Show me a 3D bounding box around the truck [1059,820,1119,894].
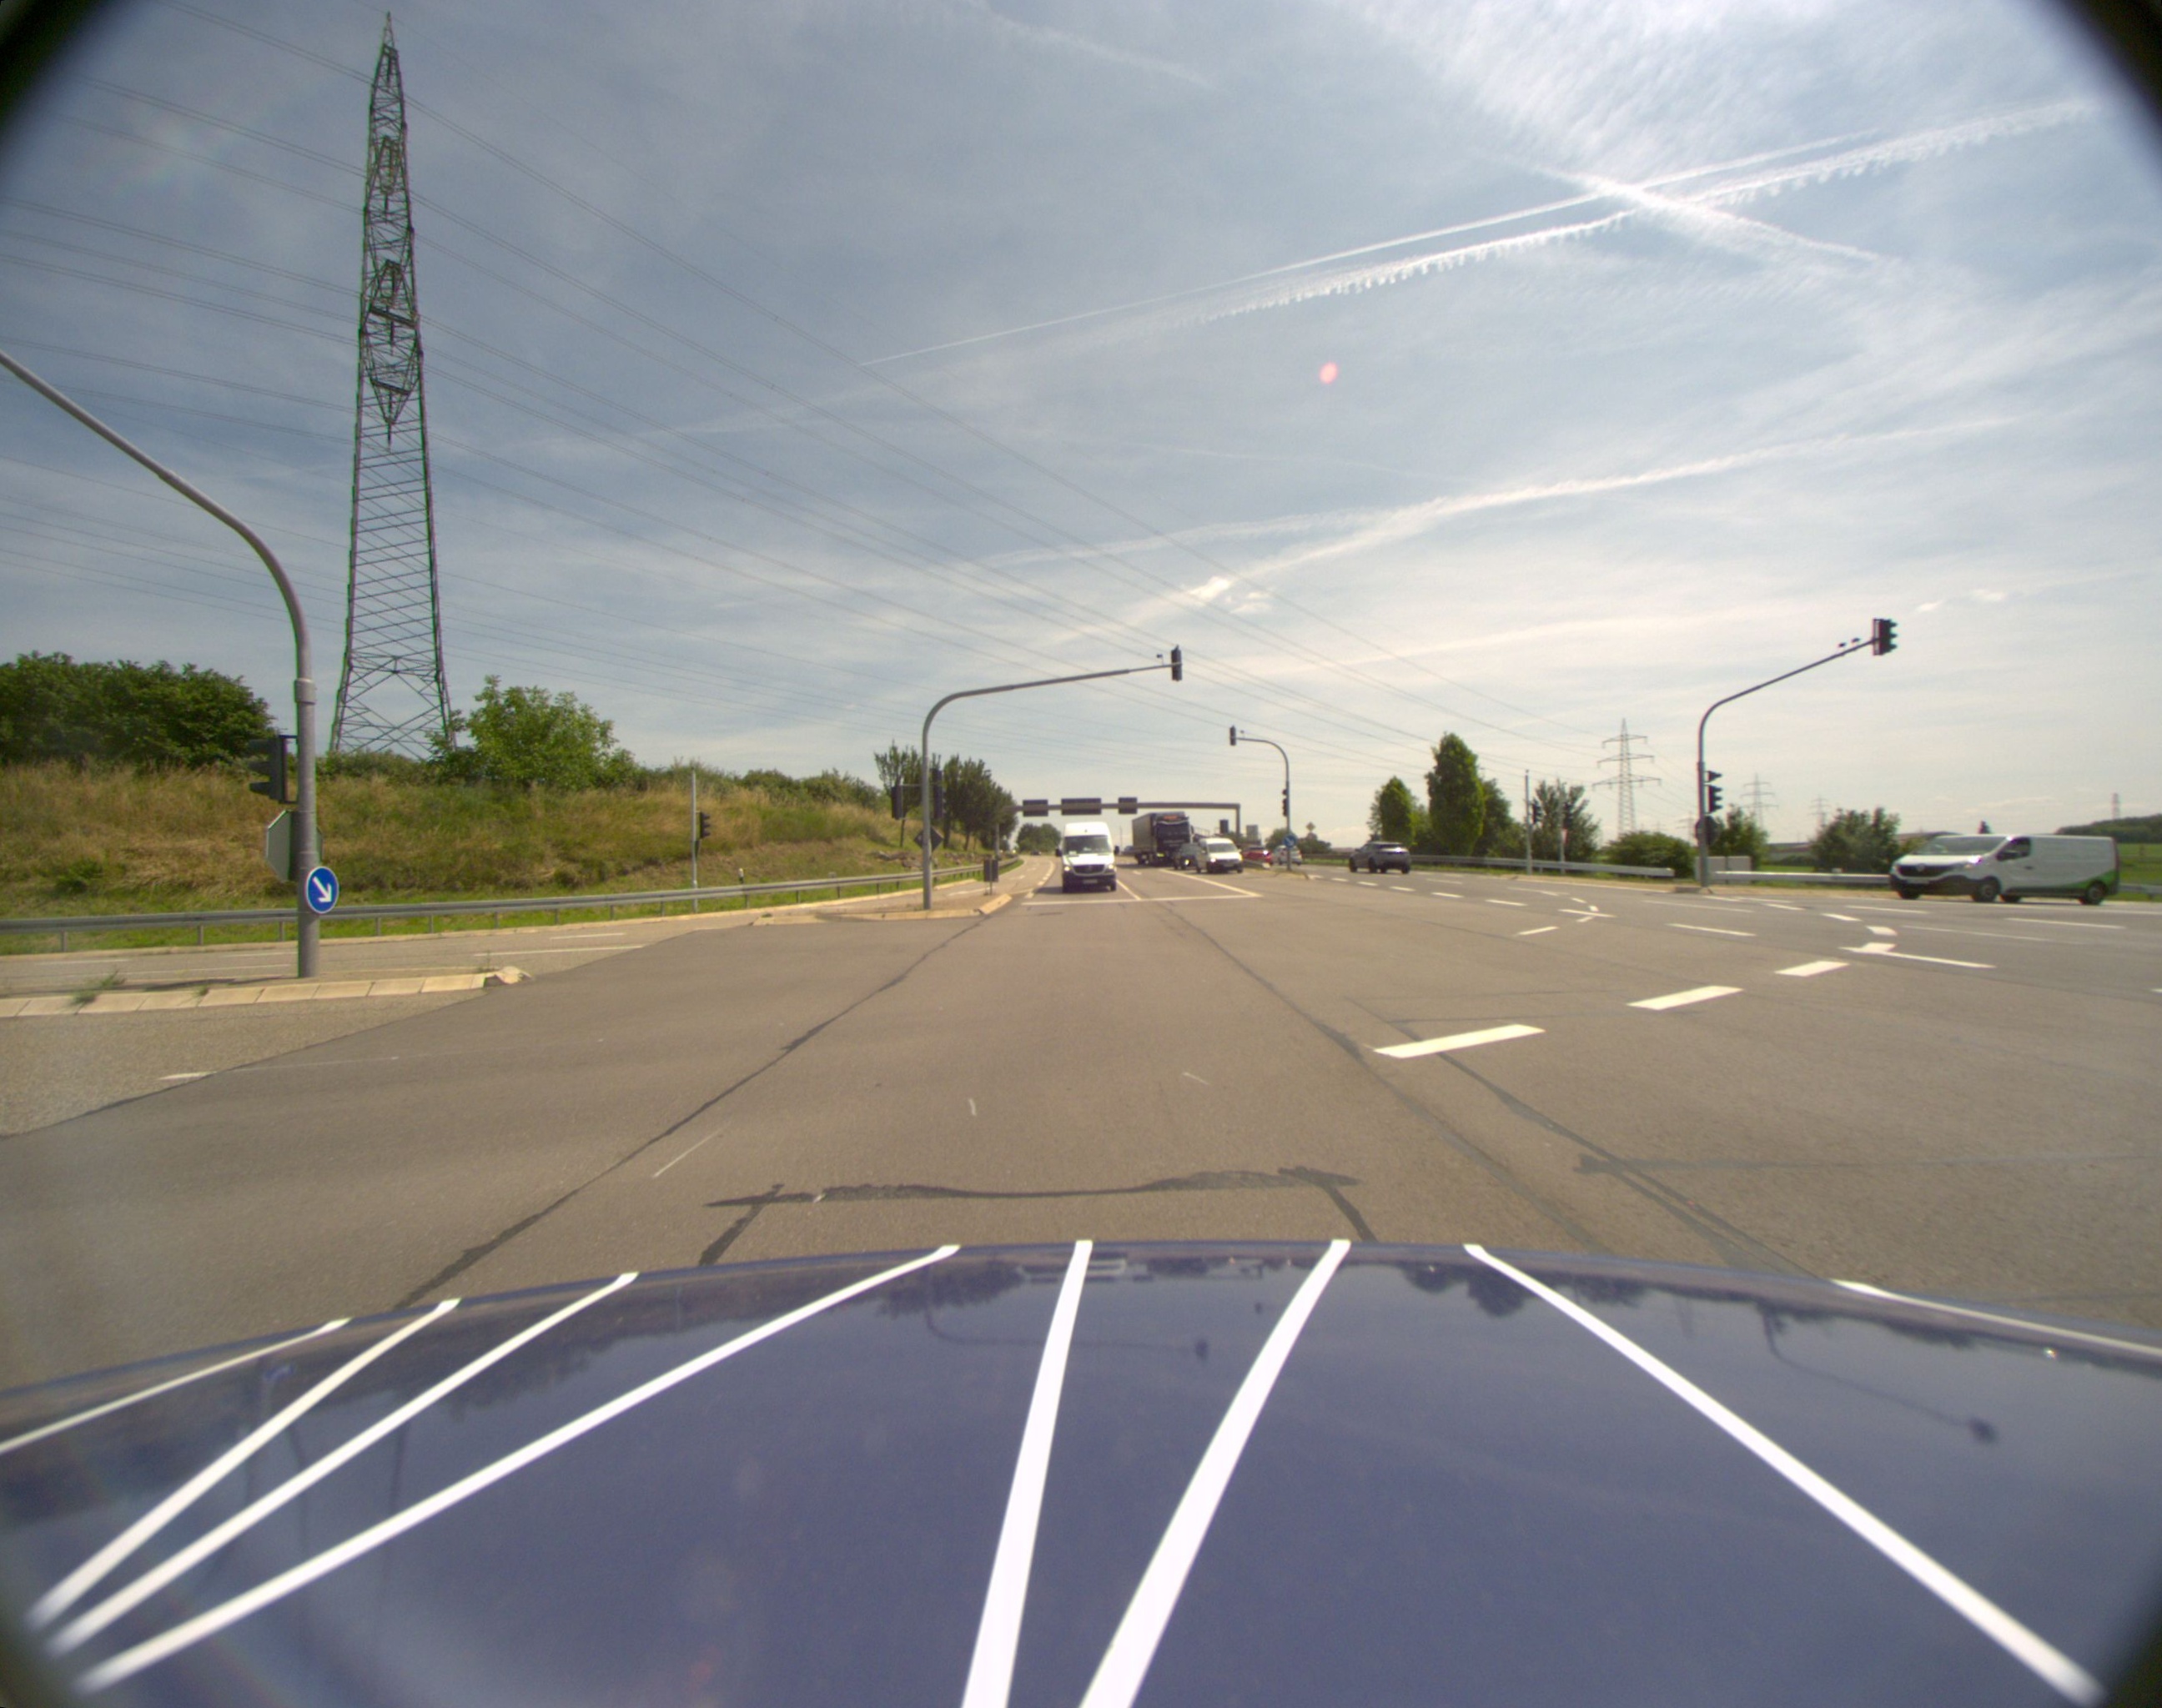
[{"bbox_3d":[0.239,0.053,29.065,1.999,2.518,5.103,-2,1,-1],"label":"truck"}]

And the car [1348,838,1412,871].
[{"bbox_3d":[15.450,-0.025,39.522,1.648,1.614,4.327,0,2,1],"label":"car"}]

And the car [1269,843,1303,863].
[{"bbox_3d":[15.702,-0.093,58.296,1.648,1.488,3.800,0,2,1],"label":"car"}]

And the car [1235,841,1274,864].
[{"bbox_3d":[12.049,-0.125,53.035,1.648,1.488,4.064,0,1,-2],"label":"car"}]

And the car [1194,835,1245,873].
[{"bbox_3d":[7.169,-0.052,39.724,1.772,1.788,4.751,-3,1,1],"label":"car"}]

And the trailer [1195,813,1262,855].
[{"bbox_3d":[14.907,-2.076,78.932,2.646,3.742,19.790,-1,2,-1],"label":"trailer"}]

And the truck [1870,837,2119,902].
[{"bbox_3d":[25.877,0.398,21.612,5.282,1.747,1.998,0,1,-8],"label":"truck"}]

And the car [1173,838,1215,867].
[{"bbox_3d":[7.028,-0.131,47.682,1.861,1.648,4.347,-3,1,0],"label":"car"}]

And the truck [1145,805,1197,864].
[{"bbox_3d":[6.570,-1.411,56.007,2.790,3.990,5.968,-3,1,-2],"label":"truck"}]

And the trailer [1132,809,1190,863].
[{"bbox_3d":[6.361,-1.457,62.711,2.790,3.891,13.781,-3,1,-2],"label":"trailer"}]

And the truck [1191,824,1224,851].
[{"bbox_3d":[14.720,-1.956,88.961,2.806,2.997,5.987,-1,2,0],"label":"truck"}]
